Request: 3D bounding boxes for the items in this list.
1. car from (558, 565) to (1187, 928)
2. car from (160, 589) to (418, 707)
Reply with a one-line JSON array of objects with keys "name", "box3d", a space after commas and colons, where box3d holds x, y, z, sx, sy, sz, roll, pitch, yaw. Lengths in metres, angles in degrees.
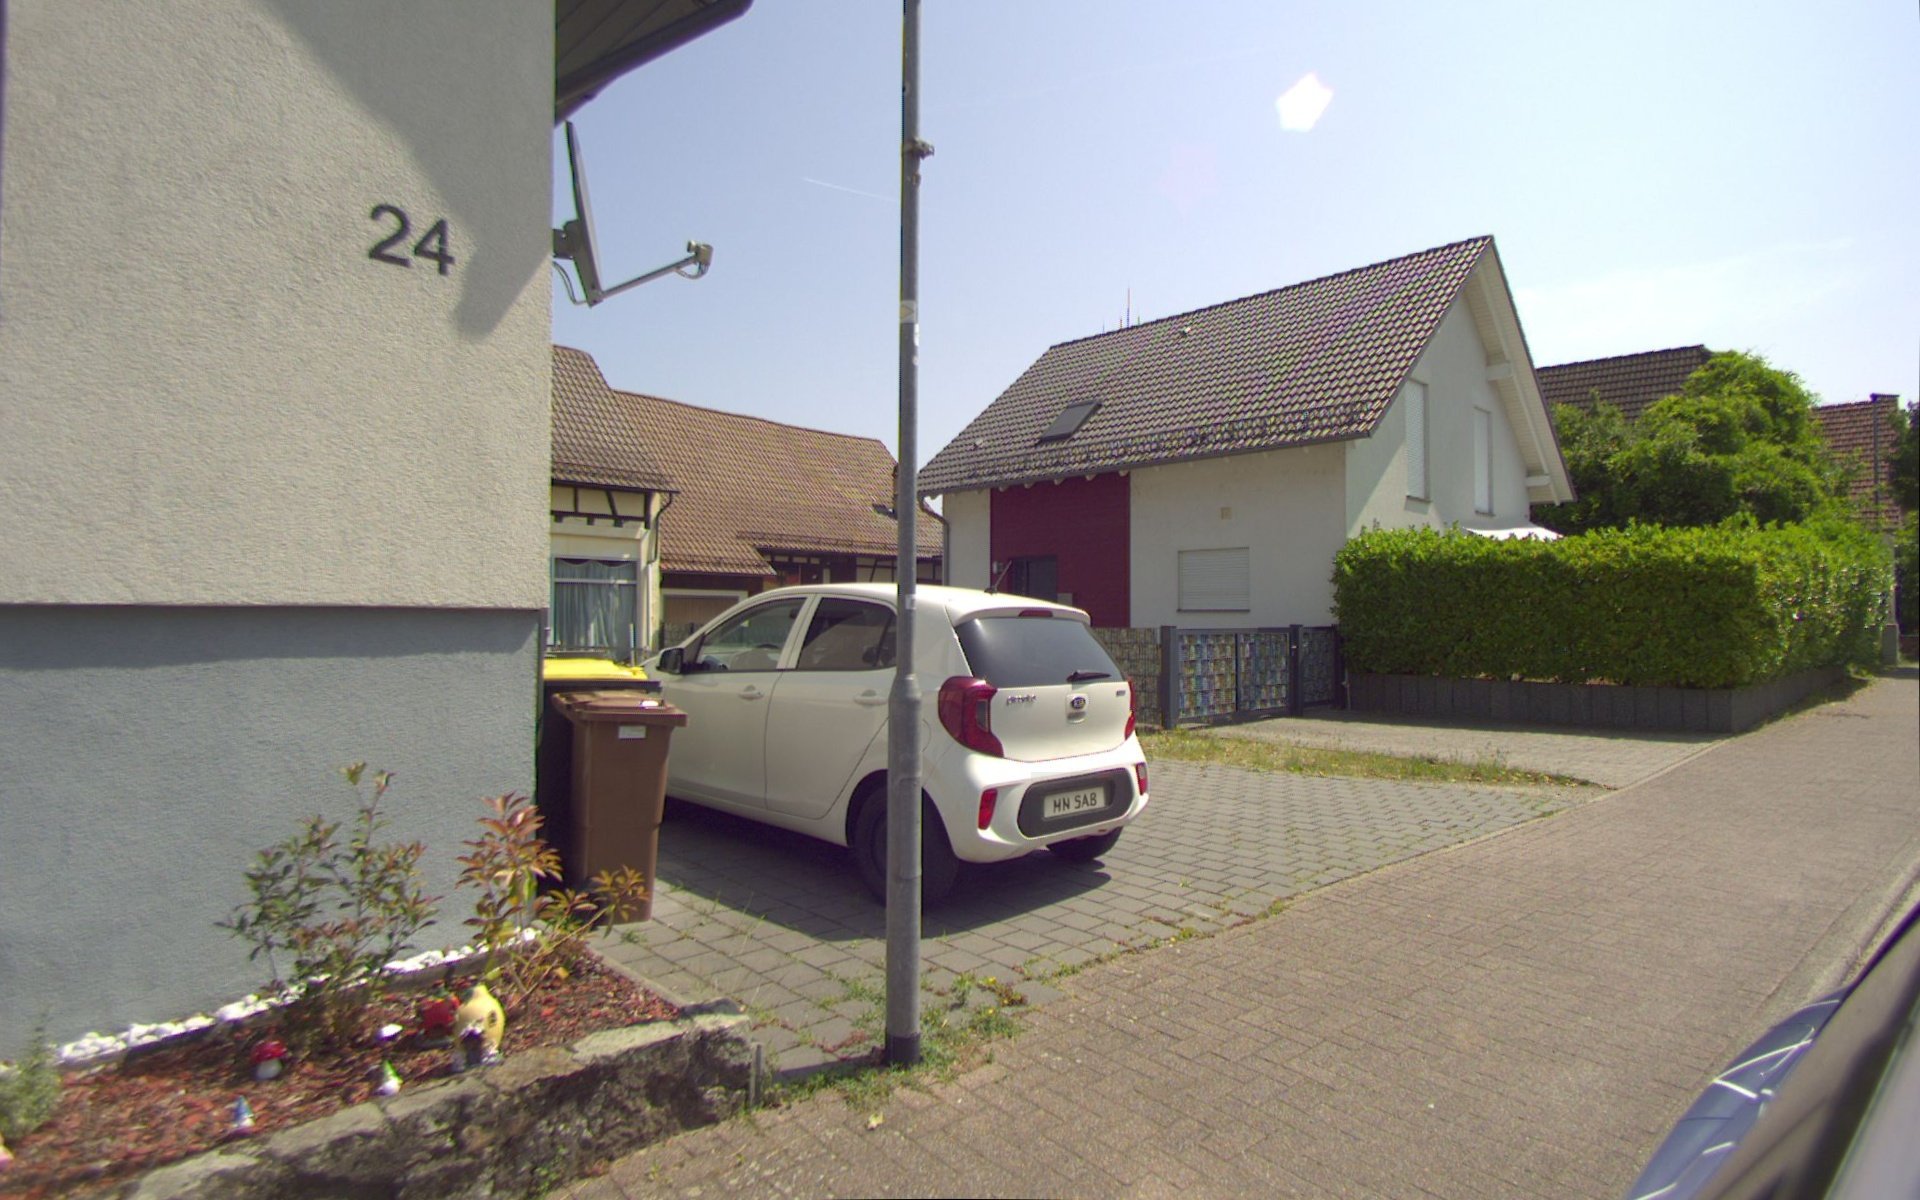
[{"name": "car", "box3d": [-0.710, 0.582, 6.066, 3.656, 1.493, 1.738, 2, 0, 43]}, {"name": "car", "box3d": [-9.701, 0.660, 14.618, 3.543, 1.510, 1.700, -1, -2, 29]}]
